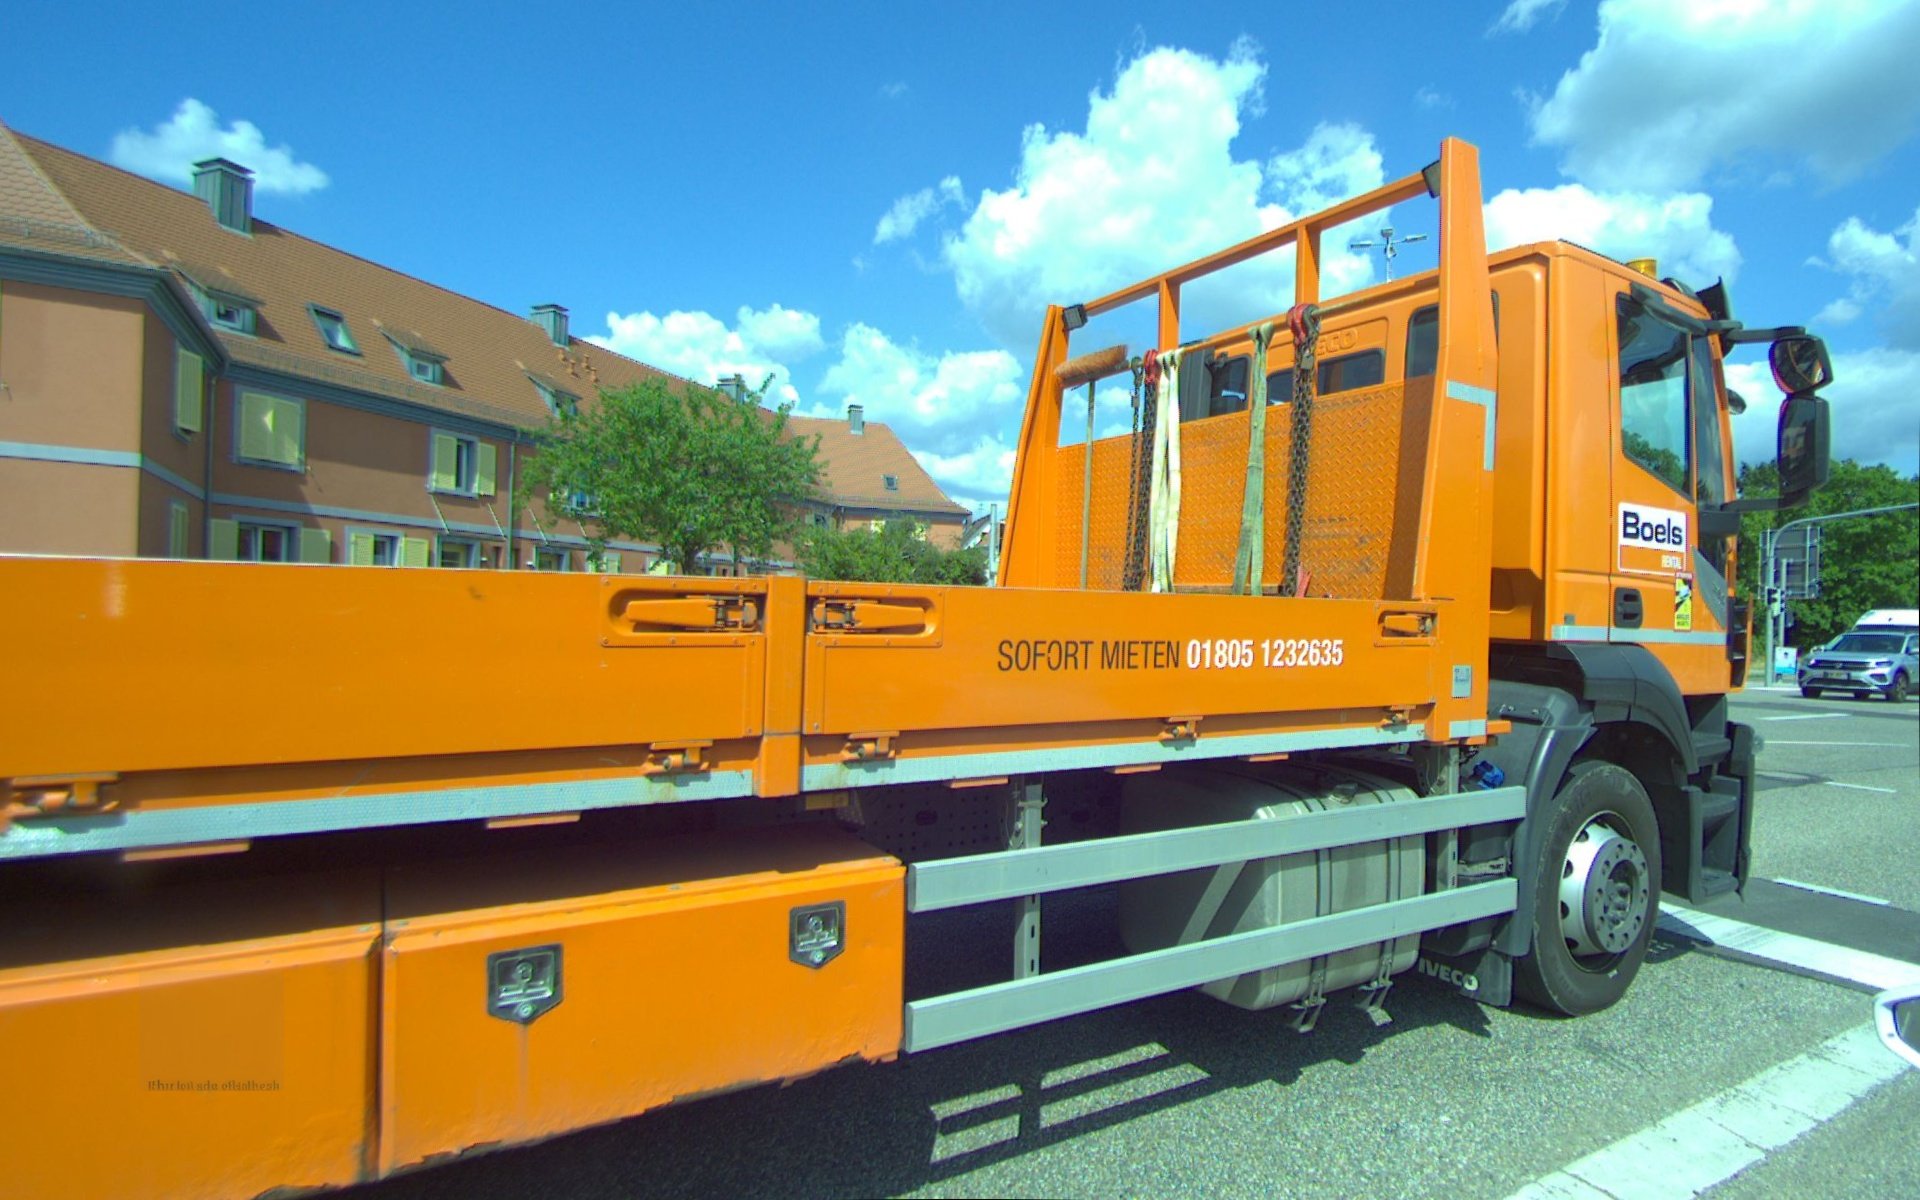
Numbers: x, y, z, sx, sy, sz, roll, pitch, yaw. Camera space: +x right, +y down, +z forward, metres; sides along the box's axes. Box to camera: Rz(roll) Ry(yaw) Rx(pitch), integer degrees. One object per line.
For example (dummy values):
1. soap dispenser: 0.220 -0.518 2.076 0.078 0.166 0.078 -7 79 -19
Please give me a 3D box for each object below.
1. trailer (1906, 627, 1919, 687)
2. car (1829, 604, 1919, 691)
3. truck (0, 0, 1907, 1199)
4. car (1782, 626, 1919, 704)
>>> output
1. trailer: 35.248 2.083 34.632 5.094 2.040 2.117 3 1 -26
2. car: 30.503 1.524 31.903 5.889 2.504 2.166 3 1 -26
3. truck: -1.643 -0.418 2.592 10.943 3.459 3.054 3 1 -31
4. car: 21.037 1.485 23.031 4.252 1.564 1.729 3 1 -26
